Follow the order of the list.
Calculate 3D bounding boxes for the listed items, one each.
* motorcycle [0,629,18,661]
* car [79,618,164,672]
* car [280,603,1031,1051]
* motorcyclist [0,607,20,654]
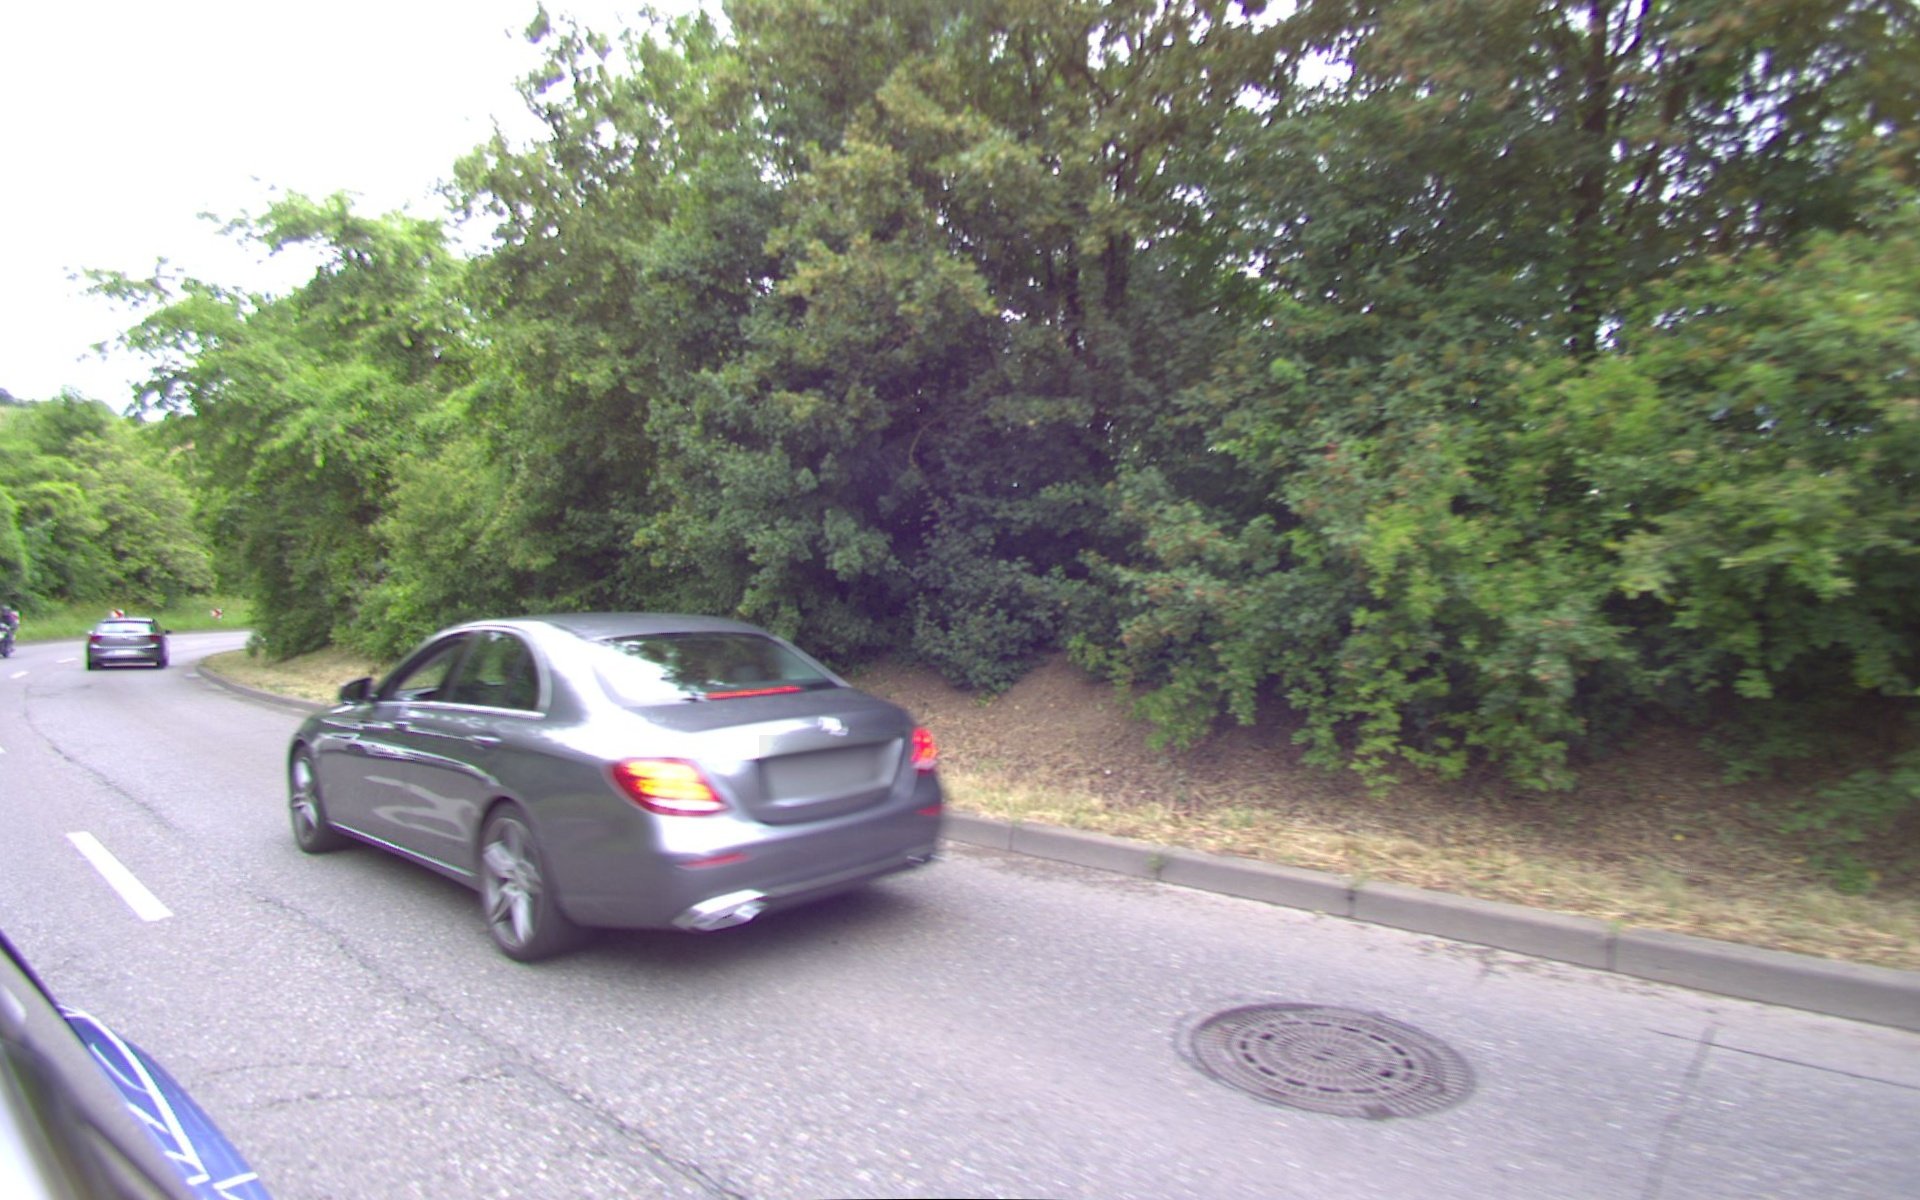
[{"bbox_3d":[-30.697,1.418,32.251,0.691,0.983,1.699,3,-2,-33],"label":"motorcycle"},{"bbox_3d":[-23.824,1.235,28.715,1.614,1.416,3.600,0,-1,-44],"label":"car"},{"bbox_3d":[-1.928,0.760,5.413,4.430,1.416,1.811,-1,0,42],"label":"car"},{"bbox_3d":[-30.688,0.972,32.308,0.805,1.477,0.789,4,-3,-33],"label":"motorcyclist"}]
